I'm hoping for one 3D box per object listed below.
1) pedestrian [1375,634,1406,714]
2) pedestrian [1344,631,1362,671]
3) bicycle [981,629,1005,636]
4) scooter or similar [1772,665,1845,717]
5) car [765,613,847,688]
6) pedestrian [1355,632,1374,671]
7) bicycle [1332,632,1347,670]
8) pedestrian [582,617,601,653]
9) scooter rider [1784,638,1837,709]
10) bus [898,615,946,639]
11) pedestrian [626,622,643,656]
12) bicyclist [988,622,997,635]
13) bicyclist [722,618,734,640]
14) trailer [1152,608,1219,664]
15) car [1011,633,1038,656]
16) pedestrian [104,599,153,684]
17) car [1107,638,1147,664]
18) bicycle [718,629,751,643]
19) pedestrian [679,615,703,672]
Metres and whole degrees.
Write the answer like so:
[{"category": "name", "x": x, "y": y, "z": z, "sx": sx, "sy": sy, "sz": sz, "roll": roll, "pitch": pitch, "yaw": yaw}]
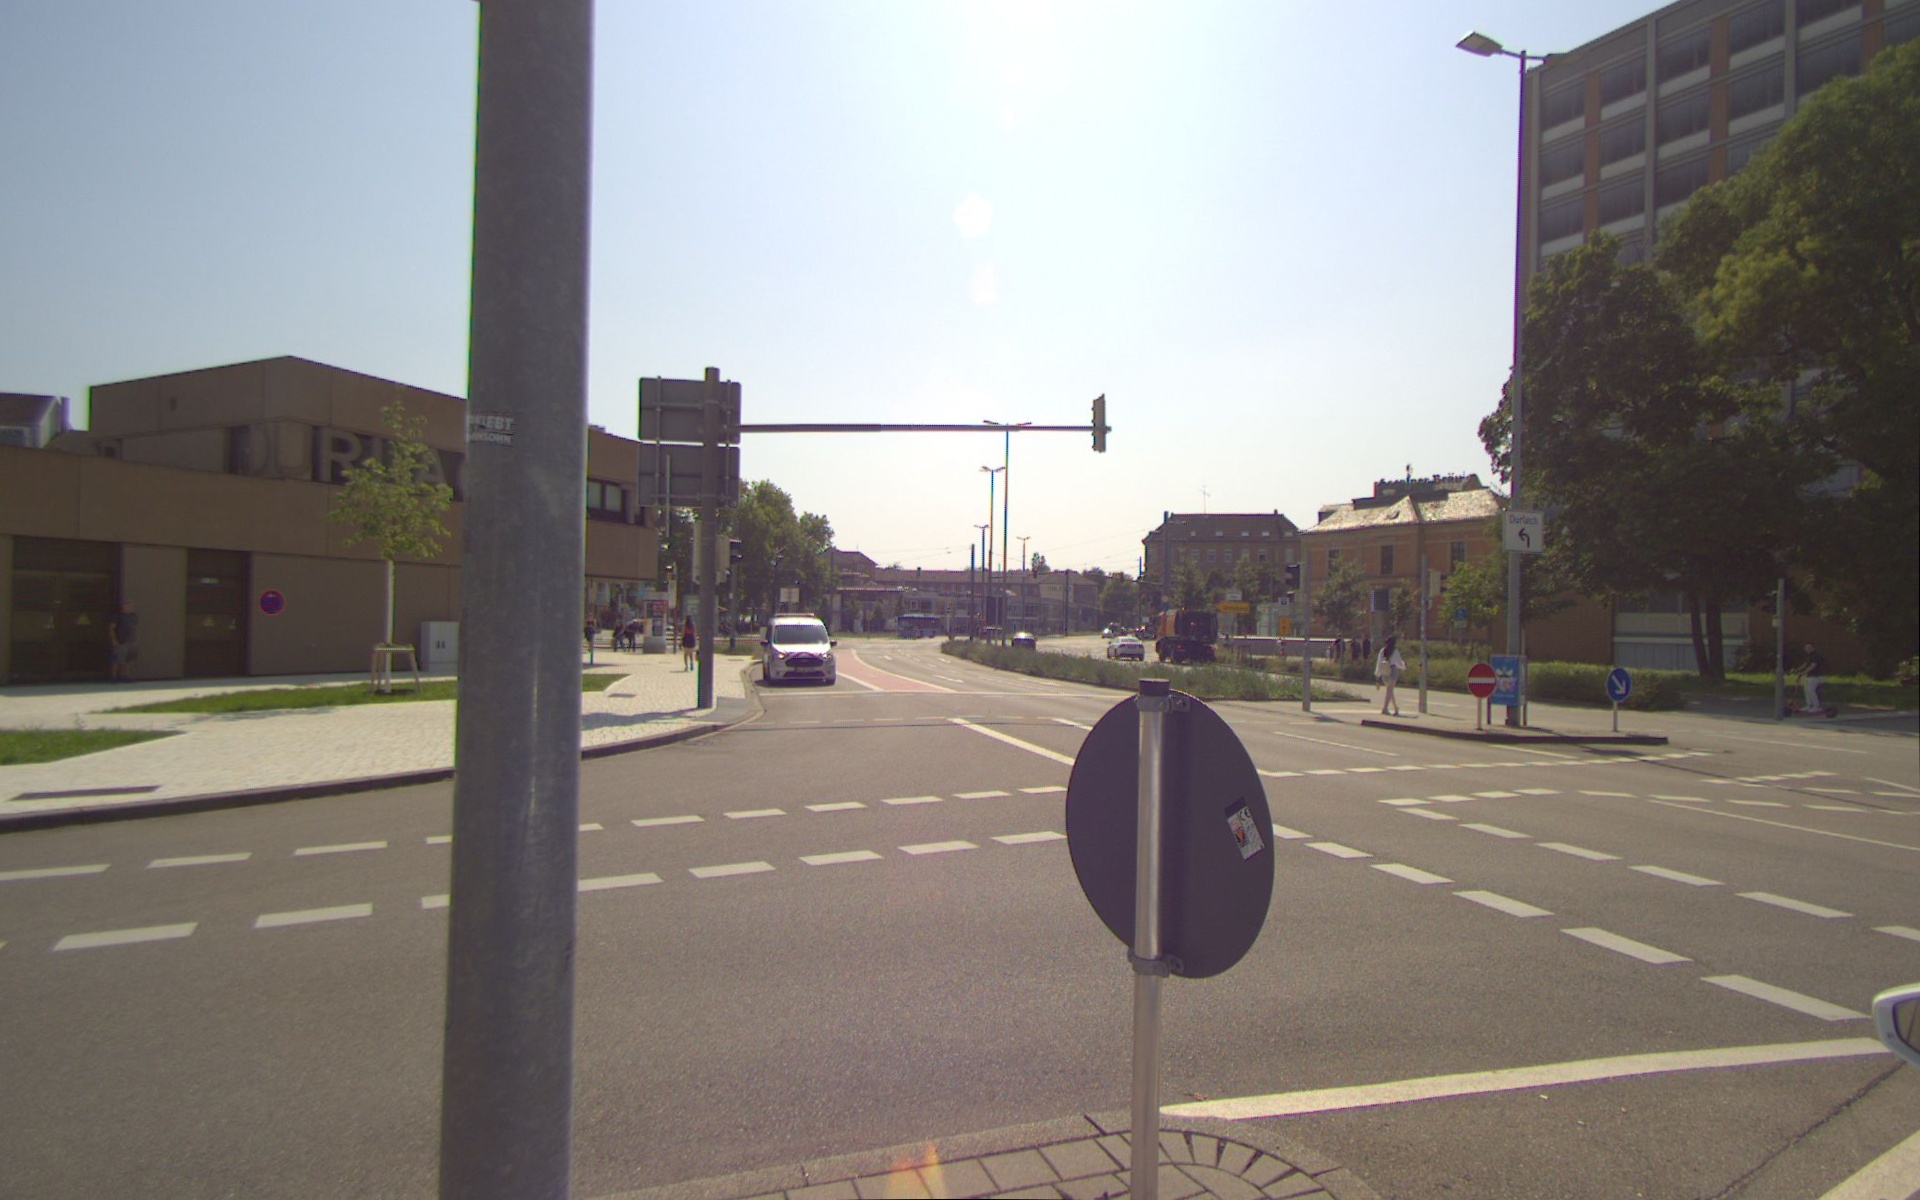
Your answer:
[{"category": "pedestrian", "x": 9.452, "y": 1.606, "z": 22.053, "sx": 0.596, "sy": 1.717, "sz": 0.700, "roll": 0, "pitch": -1, "yaw": 22}, {"category": "pedestrian", "x": 20.113, "y": 2.600, "z": 51.406, "sx": 0.764, "sy": 1.999, "sz": 0.754, "roll": 1, "pitch": -1, "yaw": 13}, {"category": "bicycle", "x": 4.124, "y": 4.074, "z": 125.501, "sx": 2.900, "sy": 0.737, "sz": 0.861, "roll": 1, "pitch": -1, "yaw": -20}, {"category": "scooter or similar", "x": 21.903, "y": 2.338, "z": 25.946, "sx": 1.340, "sy": 1.251, "sz": 0.586, "roll": 1, "pitch": -1, "yaw": 11}, {"category": "car", "x": -4.385, "y": 1.353, "z": 28.056, "sx": 1.965, "sy": 1.884, "sz": 4.324, "roll": -1, "pitch": -1, "yaw": -12}, {"category": "pedestrian", "x": 20.966, "y": 2.659, "z": 52.040, "sx": 0.764, "sy": 1.999, "sz": 0.754, "roll": 1, "pitch": -1, "yaw": 13}, {"category": "bicycle", "x": 19.332, "y": 2.606, "z": 51.187, "sx": 0.447, "sy": 1.885, "sz": 1.364, "roll": 1, "pitch": -1, "yaw": 10}, {"category": "pedestrian", "x": -16.345, "y": 1.540, "z": 44.516, "sx": 0.482, "sy": 1.558, "sz": 0.572, "roll": 1, "pitch": -1, "yaw": 24}, {"category": "scooter rider", "x": 21.913, "y": 1.884, "z": 25.897, "sx": 0.789, "sy": 1.762, "sz": 0.689, "roll": 1, "pitch": -1, "yaw": 11}, {"category": "bus", "x": -4.885, "y": 3.645, "z": 134.186, "sx": 3.002, "sy": 2.970, "sz": 11.860, "roll": 1, "pitch": -1, "yaw": 15}, {"category": "pedestrian", "x": -16.786, "y": 2.005, "z": 51.742, "sx": 0.634, "sy": 1.725, "sz": 0.809, "roll": 1, "pitch": -1, "yaw": -6}, {"category": "bicyclist", "x": 4.099, "y": 3.544, "z": 125.503, "sx": 0.893, "sy": 1.521, "sz": 0.861, "roll": 2, "pitch": -1, "yaw": -20}, {"category": "bicyclist", "x": -17.653, "y": 2.203, "z": 76.430, "sx": 0.828, "sy": 1.664, "sz": 0.604, "roll": 1, "pitch": -1, "yaw": -20}, {"category": "trailer", "x": 13.420, "y": 2.112, "z": 60.281, "sx": 2.422, "sy": 3.047, "sz": 6.326, "roll": 3, "pitch": -1, "yaw": 0}, {"category": "car", "x": 4.408, "y": 3.026, "z": 69.054, "sx": 1.728, "sy": 1.423, "sz": 3.982, "roll": 2, "pitch": -1, "yaw": 3}, {"category": "pedestrian", "x": -16.961, "y": 0.840, "z": 20.492, "sx": 0.558, "sy": 1.700, "sz": 0.535, "roll": 0, "pitch": -1, "yaw": 25}, {"category": "car", "x": 10.610, "y": 3.229, "z": 64.011, "sx": 1.729, "sy": 1.474, "sz": 4.426, "roll": 2, "pitch": -1, "yaw": -1}, {"category": "bicycle", "x": -17.191, "y": 2.748, "z": 76.586, "sx": 2.379, "sy": 0.966, "sz": 0.601, "roll": 1, "pitch": -1, "yaw": -19}, {"category": "pedestrian", "x": -8.263, "y": 1.329, "z": 30.893, "sx": 0.617, "sy": 1.725, "sz": 0.785, "roll": 2, "pitch": -1, "yaw": -12}]
